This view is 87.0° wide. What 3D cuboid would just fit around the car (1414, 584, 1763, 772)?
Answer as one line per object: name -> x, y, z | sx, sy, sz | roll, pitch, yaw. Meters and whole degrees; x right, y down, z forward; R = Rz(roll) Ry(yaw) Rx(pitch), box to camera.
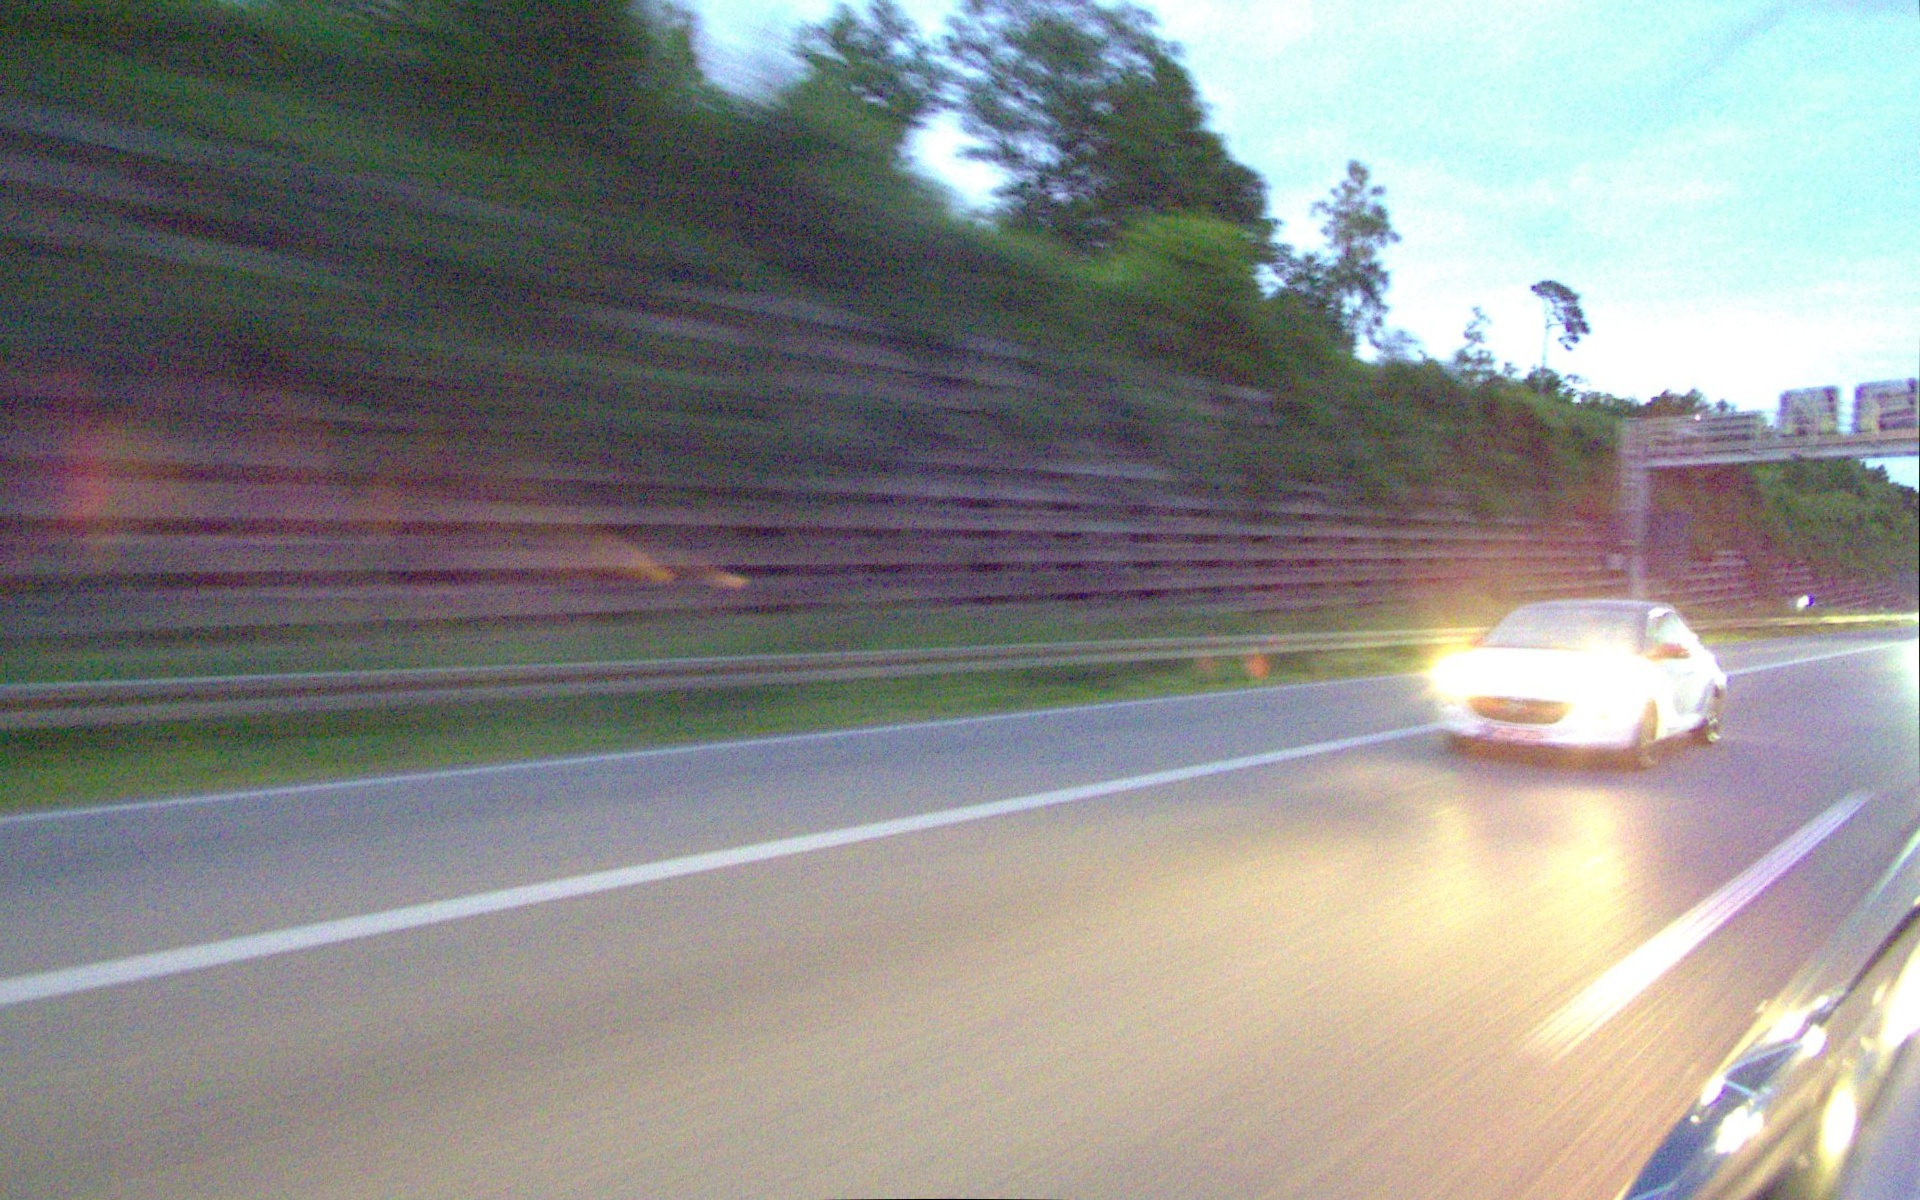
car -> 6.495, 0.609, 10.257 | 4.322, 1.494, 1.829 | 0, 1, -41
